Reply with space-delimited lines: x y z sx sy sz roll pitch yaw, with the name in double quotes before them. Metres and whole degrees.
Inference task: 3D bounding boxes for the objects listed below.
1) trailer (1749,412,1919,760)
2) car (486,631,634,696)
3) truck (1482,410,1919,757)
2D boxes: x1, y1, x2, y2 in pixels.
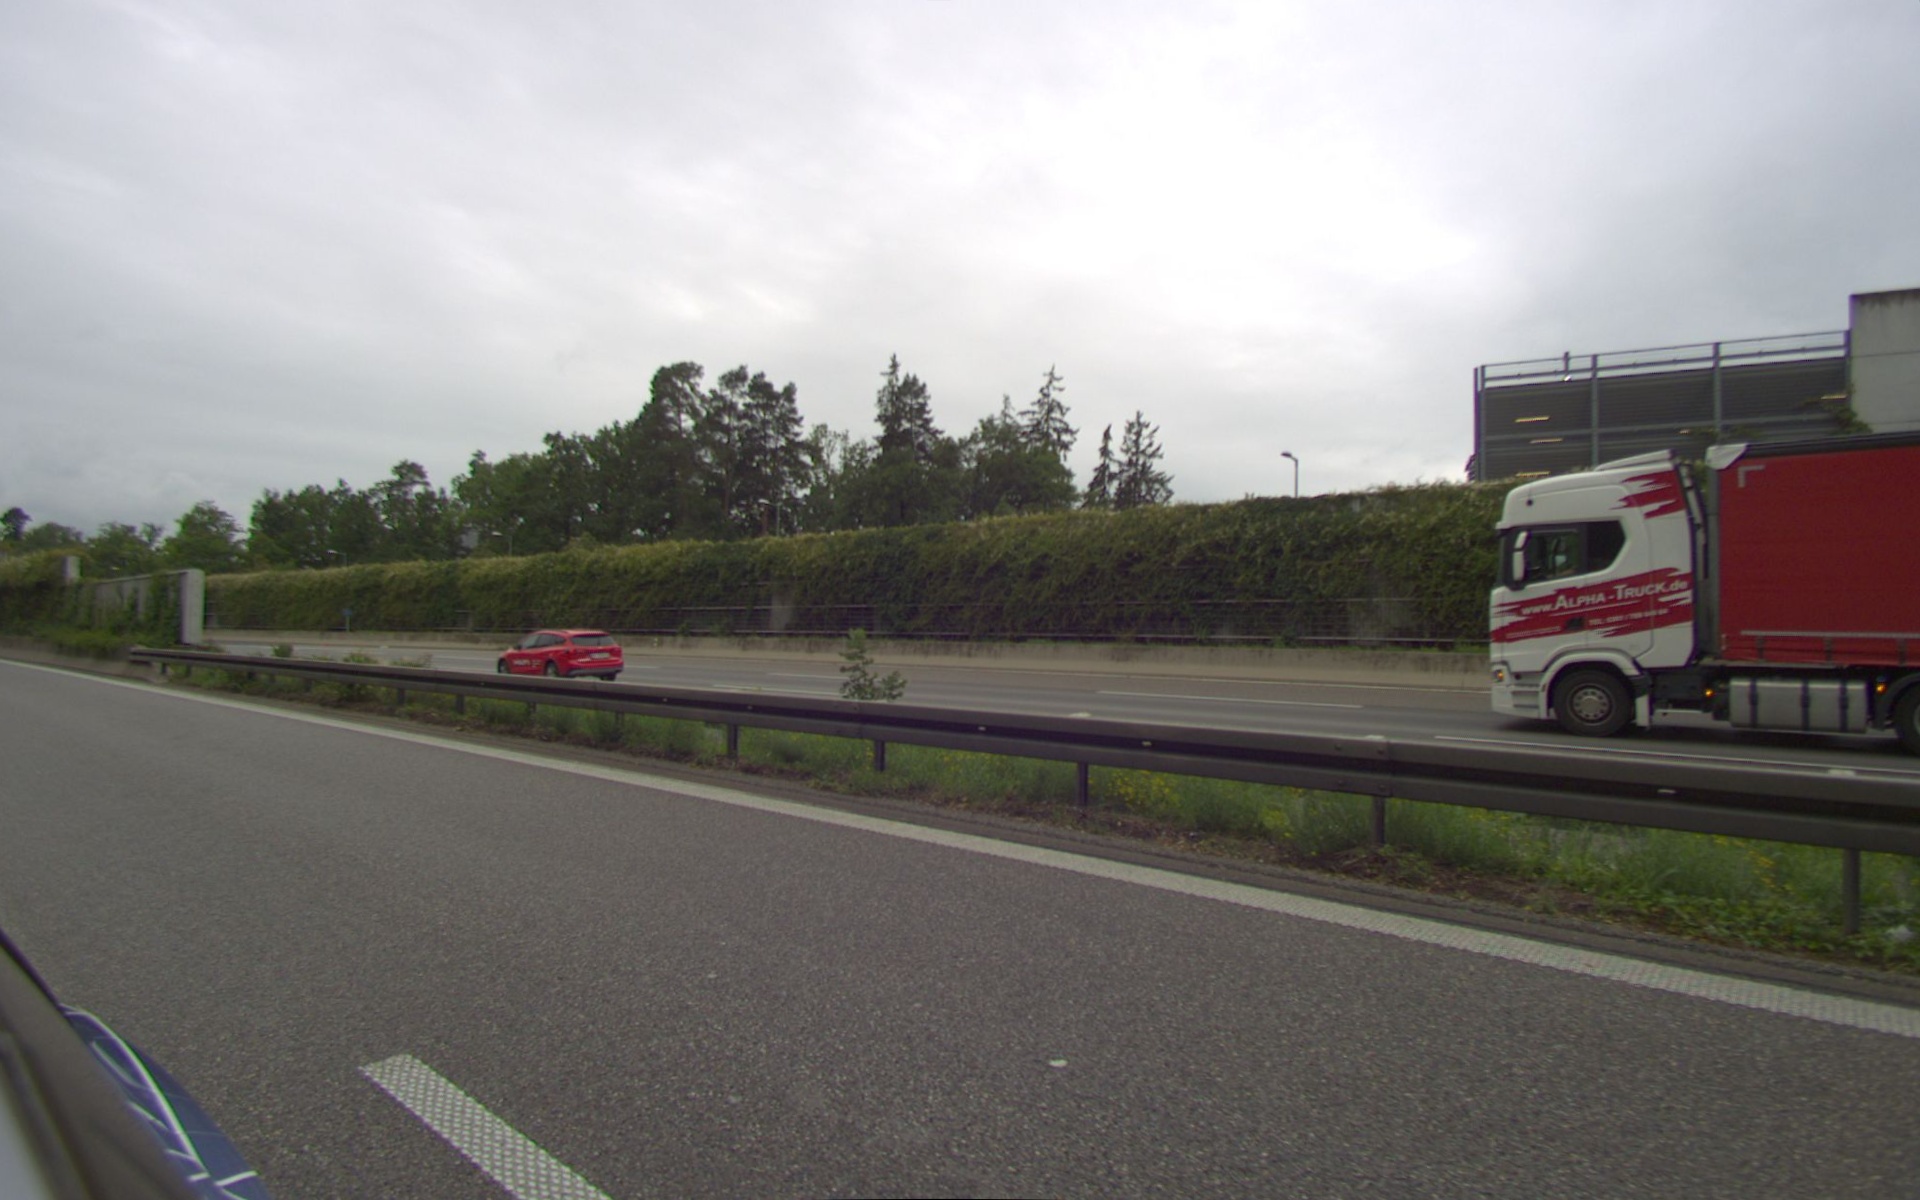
"trailer" 16.297 -0.262 9.608 13.683 4.159 2.715 -2 -2 42
"car" -11.066 1.687 27.878 4.714 1.581 1.754 -1 -2 40
"truck" 11.027 -0.139 14.364 5.915 4.159 2.639 -2 -2 42
